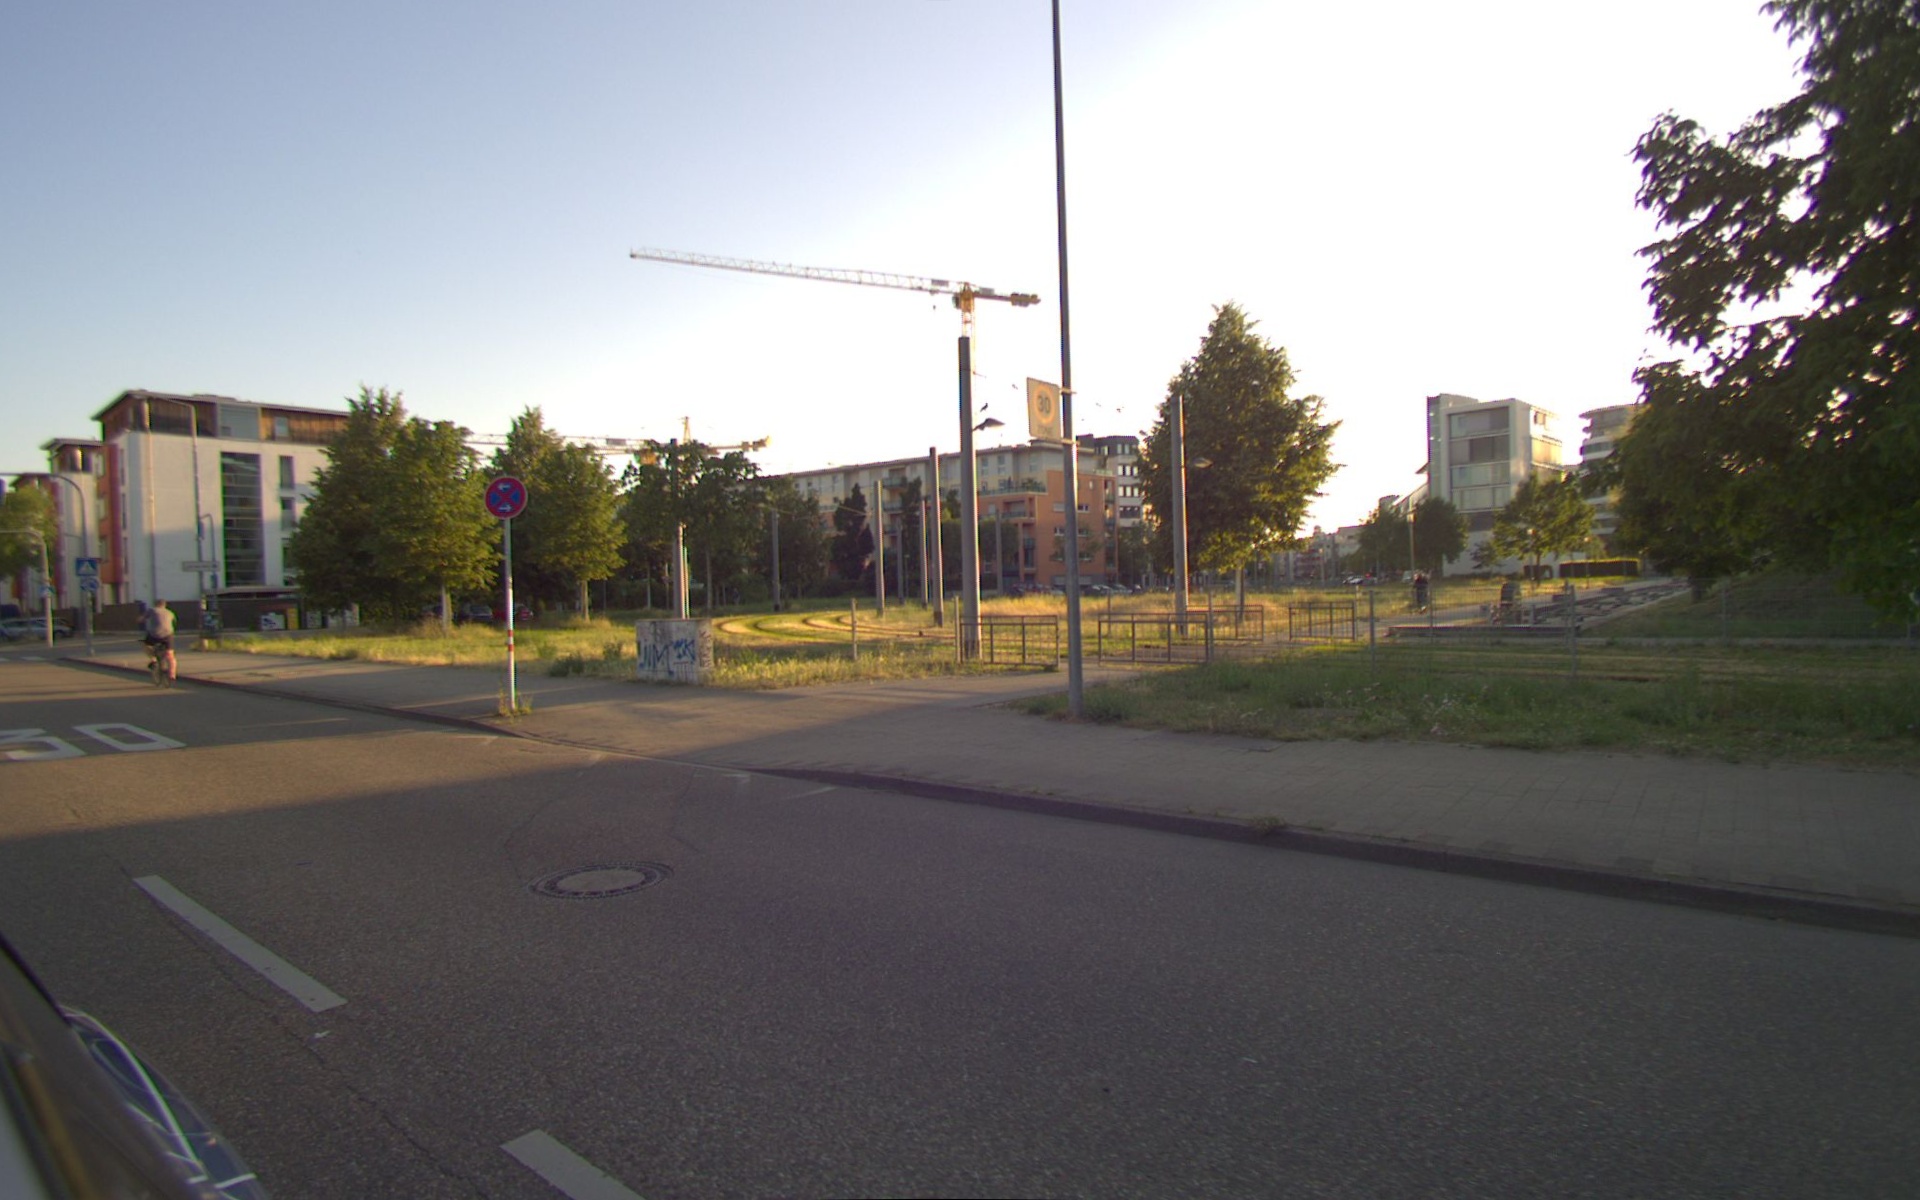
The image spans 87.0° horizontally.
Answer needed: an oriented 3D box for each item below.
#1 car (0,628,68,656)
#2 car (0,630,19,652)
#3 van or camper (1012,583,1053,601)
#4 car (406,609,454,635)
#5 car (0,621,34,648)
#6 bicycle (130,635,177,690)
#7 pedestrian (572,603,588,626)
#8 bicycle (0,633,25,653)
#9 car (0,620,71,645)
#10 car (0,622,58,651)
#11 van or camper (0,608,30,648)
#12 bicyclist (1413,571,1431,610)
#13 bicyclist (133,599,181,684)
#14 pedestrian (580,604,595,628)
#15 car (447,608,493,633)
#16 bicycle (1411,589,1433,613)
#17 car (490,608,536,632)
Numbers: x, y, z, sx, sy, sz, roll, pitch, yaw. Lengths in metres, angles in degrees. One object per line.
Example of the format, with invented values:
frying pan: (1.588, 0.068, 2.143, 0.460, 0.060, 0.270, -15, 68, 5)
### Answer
car: (-58.874, 2.692, 62.934, 1.709, 1.489, 4.855, -3, 2, 39)
car: (-70.196, 3.038, 72.425, 1.721, 1.526, 3.872, -2, 1, 37)
van or camper: (7.435, -0.817, 104.484, 3.879, 1.707, 1.809, -3, 0, 43)
car: (-33.297, 1.347, 63.565, 3.411, 1.533, 1.667, -1, 1, 44)
car: (-63.494, 2.369, 65.666, 1.756, 1.596, 4.703, -3, 2, 37)
bicycle: (-16.581, 1.271, 20.791, 0.532, 1.051, 1.926, -2, 0, -45)
pedestrian: (-27.622, 1.078, 73.574, 0.652, 1.611, 0.707, -2, 2, 23)
bicycle: (-55.529, 2.532, 58.703, 0.566, 1.074, 1.799, -3, 3, 39)
car: (-56.746, 1.975, 61.239, 1.679, 1.469, 4.237, -3, -2, 39)
car: (-60.662, 2.399, 64.307, 1.710, 1.566, 4.724, -3, 2, 41)
van or camper: (-79.567, 2.405, 81.704, 2.438, 3.110, 6.240, -2, 1, 37)
bicyclist: (18.210, -0.361, 39.883, 0.424, 1.506, 0.507, -3, -1, 42)
bicyclist: (-16.525, 0.847, 20.818, 0.608, 1.675, 1.037, -2, -1, -45)
pedestrian: (-26.977, 1.144, 73.339, 0.621, 1.679, 0.737, -2, 2, 26)
car: (-31.552, 1.284, 65.148, 3.411, 1.511, 1.572, -1, 1, 44)
bicycle: (18.206, 0.045, 39.855, 0.431, 0.907, 1.219, -3, 0, 41)
car: (-29.515, 1.295, 66.731, 3.411, 1.511, 1.572, -1, 1, 44)
